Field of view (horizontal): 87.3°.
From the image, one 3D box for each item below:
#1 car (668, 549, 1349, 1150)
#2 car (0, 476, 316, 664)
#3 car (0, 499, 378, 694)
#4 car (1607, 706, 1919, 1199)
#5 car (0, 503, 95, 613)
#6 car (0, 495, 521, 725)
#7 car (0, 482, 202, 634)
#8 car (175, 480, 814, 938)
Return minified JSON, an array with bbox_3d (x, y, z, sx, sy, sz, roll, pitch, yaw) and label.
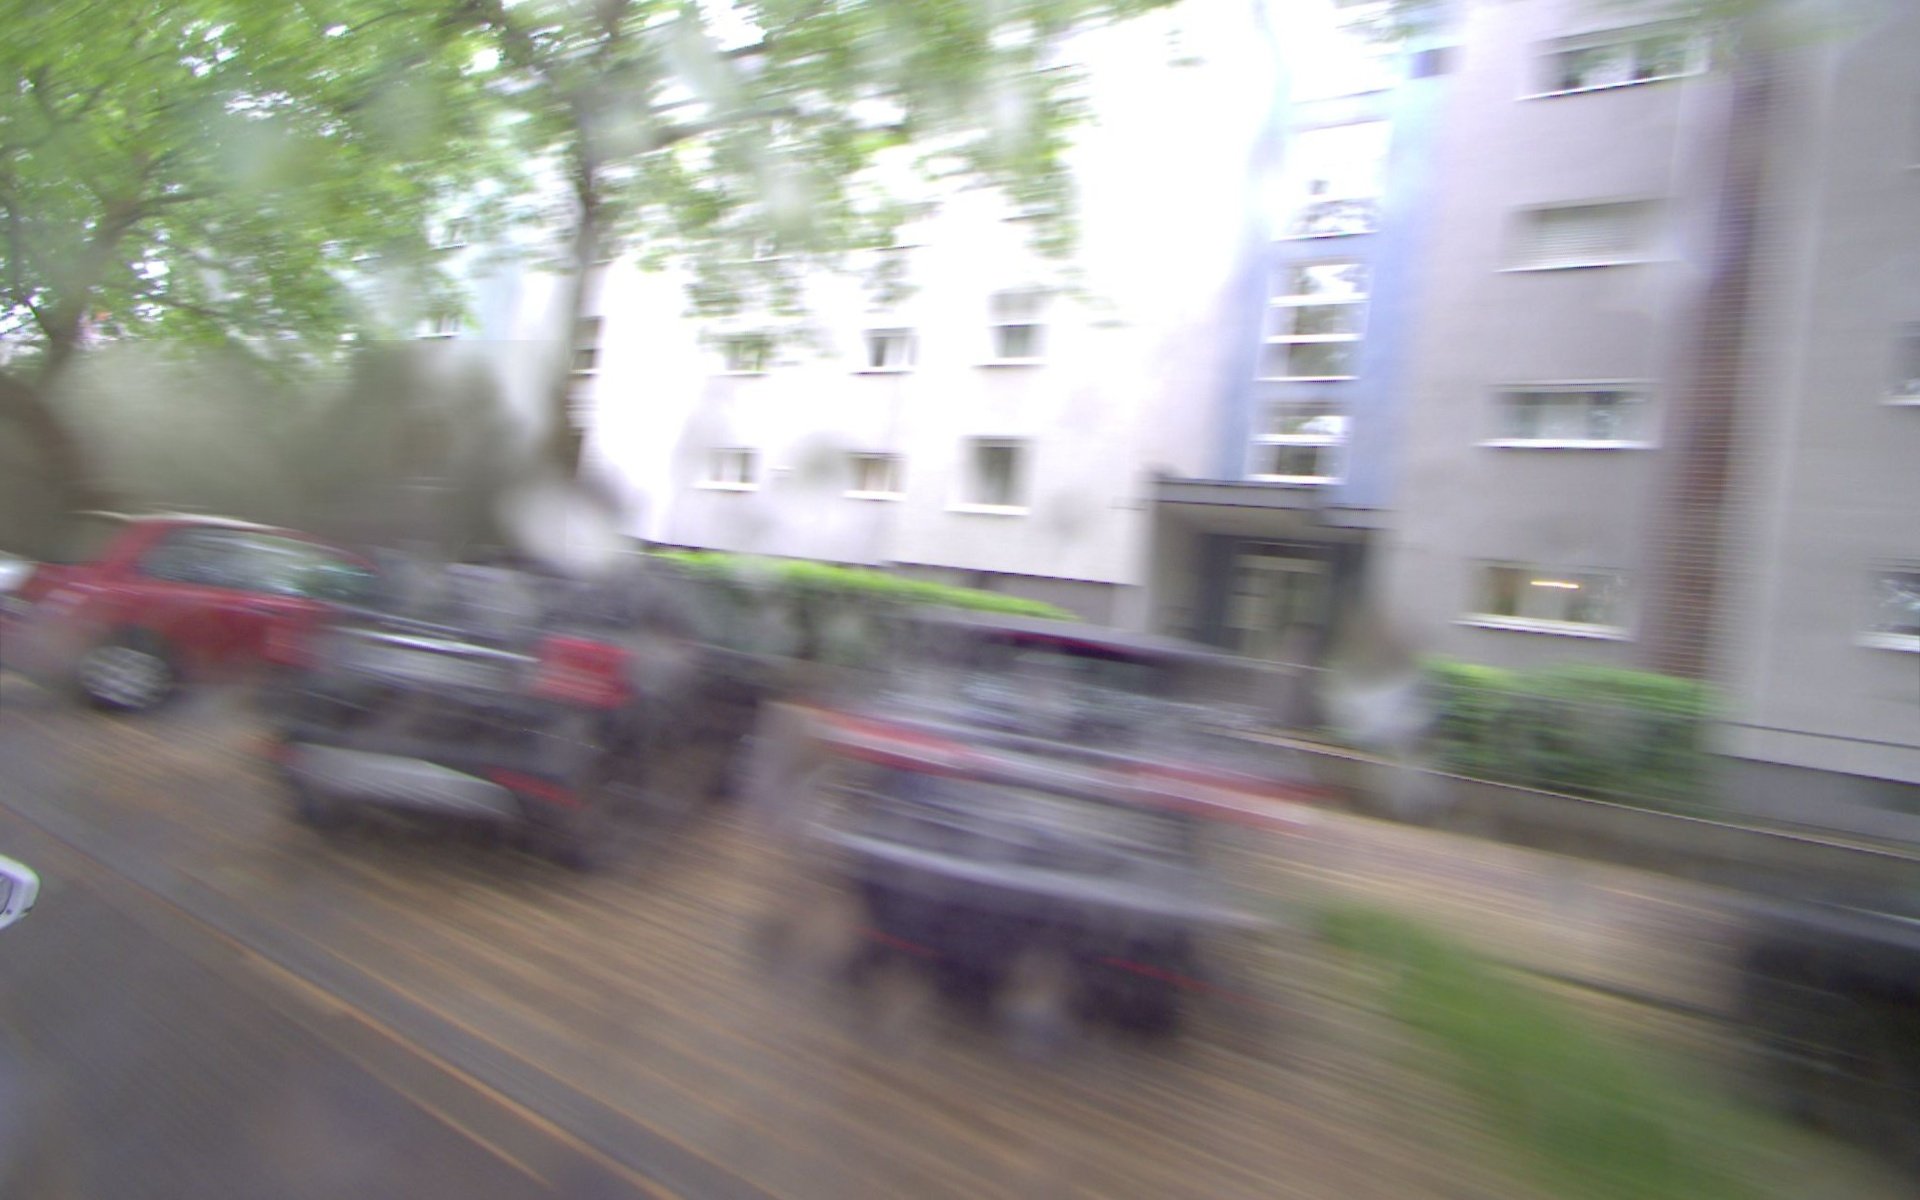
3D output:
[{"bbox_3d":[0.281,0.913,5.257,1.997,1.618,4.006,8,-3,4],"label":"car"},{"bbox_3d":[-10.295,-0.372,11.870,1.771,1.746,3.997,7,-3,32],"label":"car"},{"bbox_3d":[-8.389,-0.037,10.023,1.770,1.529,4.000,7,-3,30],"label":"car"},{"bbox_3d":[4.023,1.325,2.791,1.770,1.618,4.005,9,-3,2],"label":"car"},{"bbox_3d":[-15.777,-0.892,14.963,1.604,1.554,3.998,7,-3,31],"label":"car"},{"bbox_3d":[-6.149,0.154,8.888,1.710,1.555,3.706,7,-1,34],"label":"car"},{"bbox_3d":[-13.377,-0.732,13.716,1.788,1.781,4.350,7,-3,31],"label":"car"},{"bbox_3d":[-2.317,0.495,6.285,1.803,1.718,3.869,8,0,4],"label":"car"}]
